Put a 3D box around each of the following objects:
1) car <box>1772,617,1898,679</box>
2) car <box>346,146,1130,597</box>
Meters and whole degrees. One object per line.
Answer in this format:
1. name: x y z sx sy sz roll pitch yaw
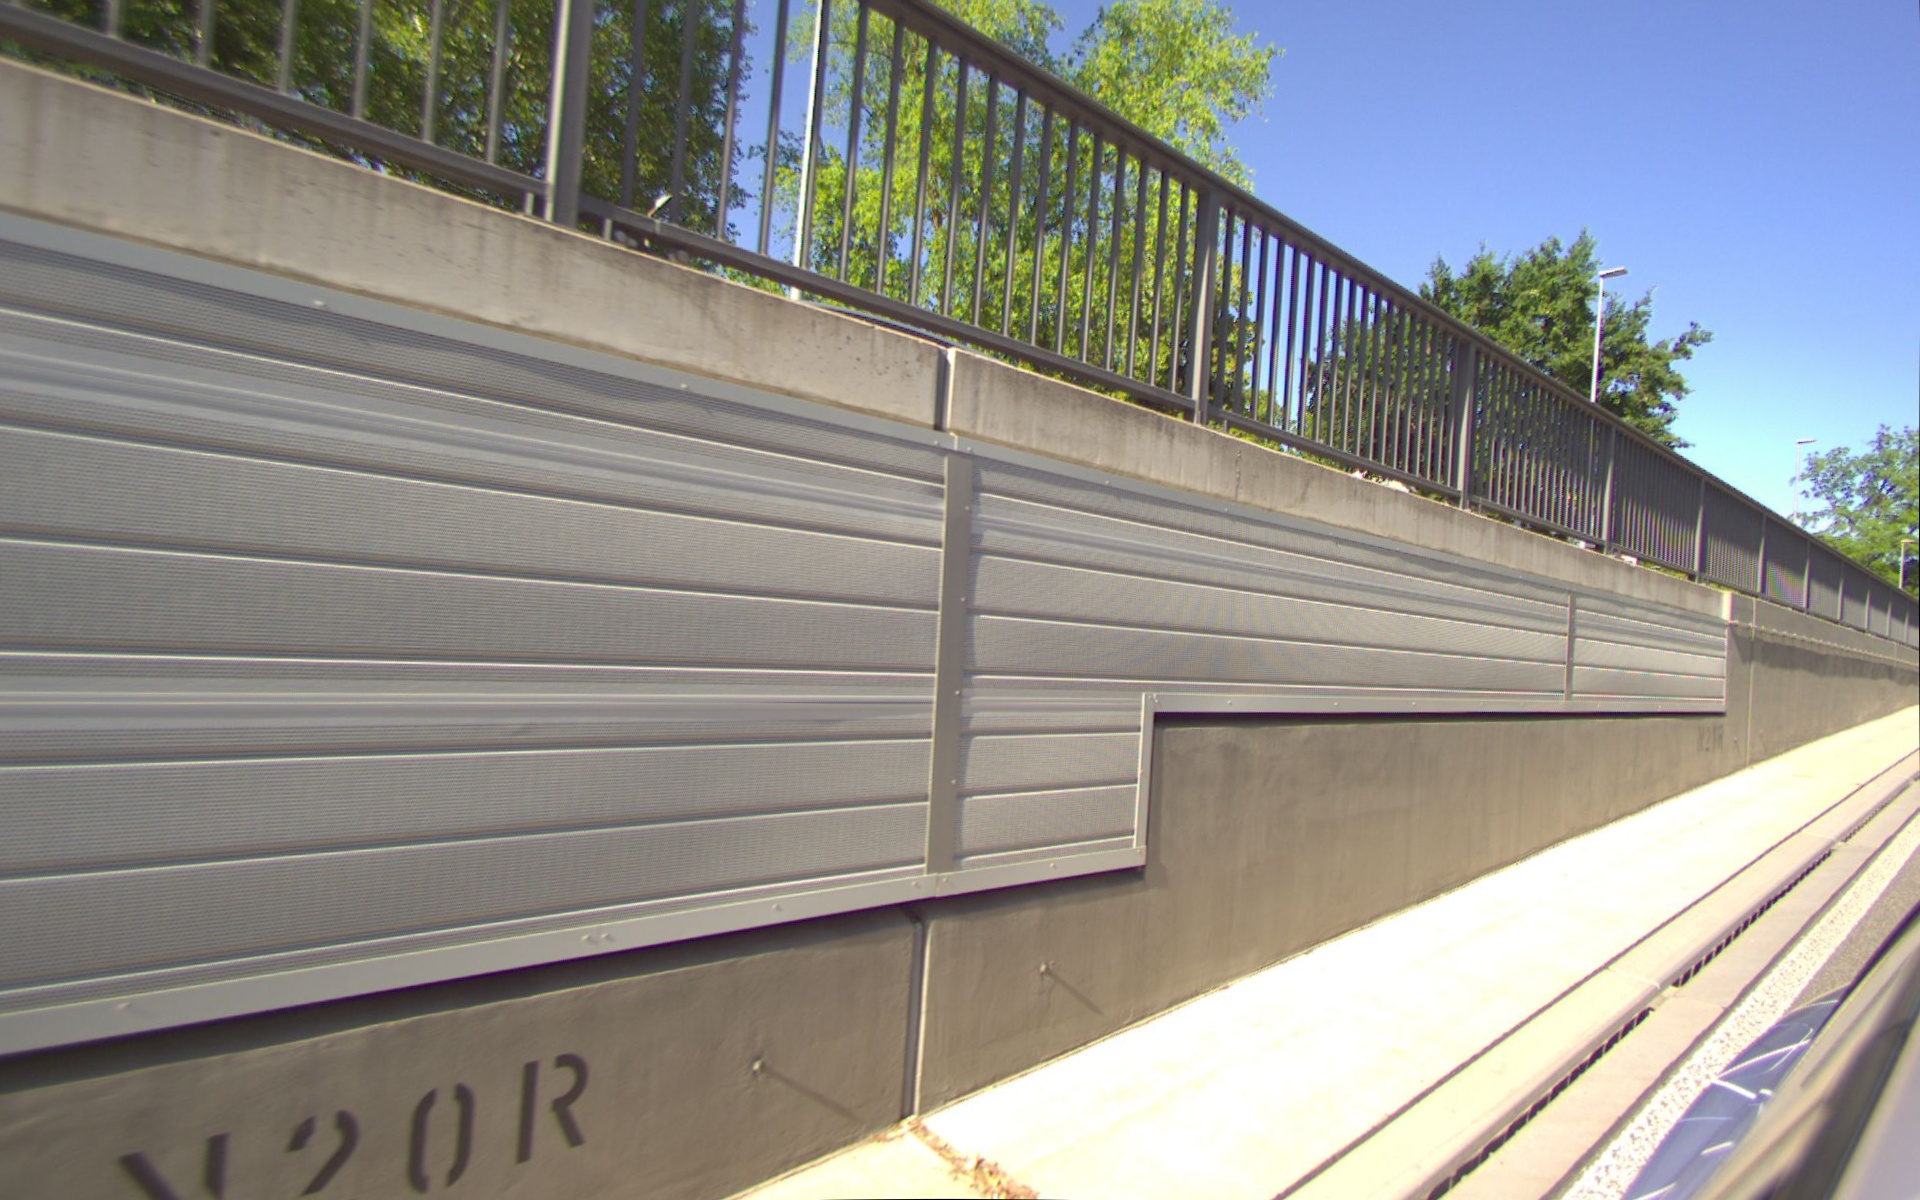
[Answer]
1. car: 23.056 1.281 26.619 4.221 1.419 1.837 5 -2 -40
2. car: -0.954 -0.849 5.619 3.904 1.454 1.669 4 -2 -42
